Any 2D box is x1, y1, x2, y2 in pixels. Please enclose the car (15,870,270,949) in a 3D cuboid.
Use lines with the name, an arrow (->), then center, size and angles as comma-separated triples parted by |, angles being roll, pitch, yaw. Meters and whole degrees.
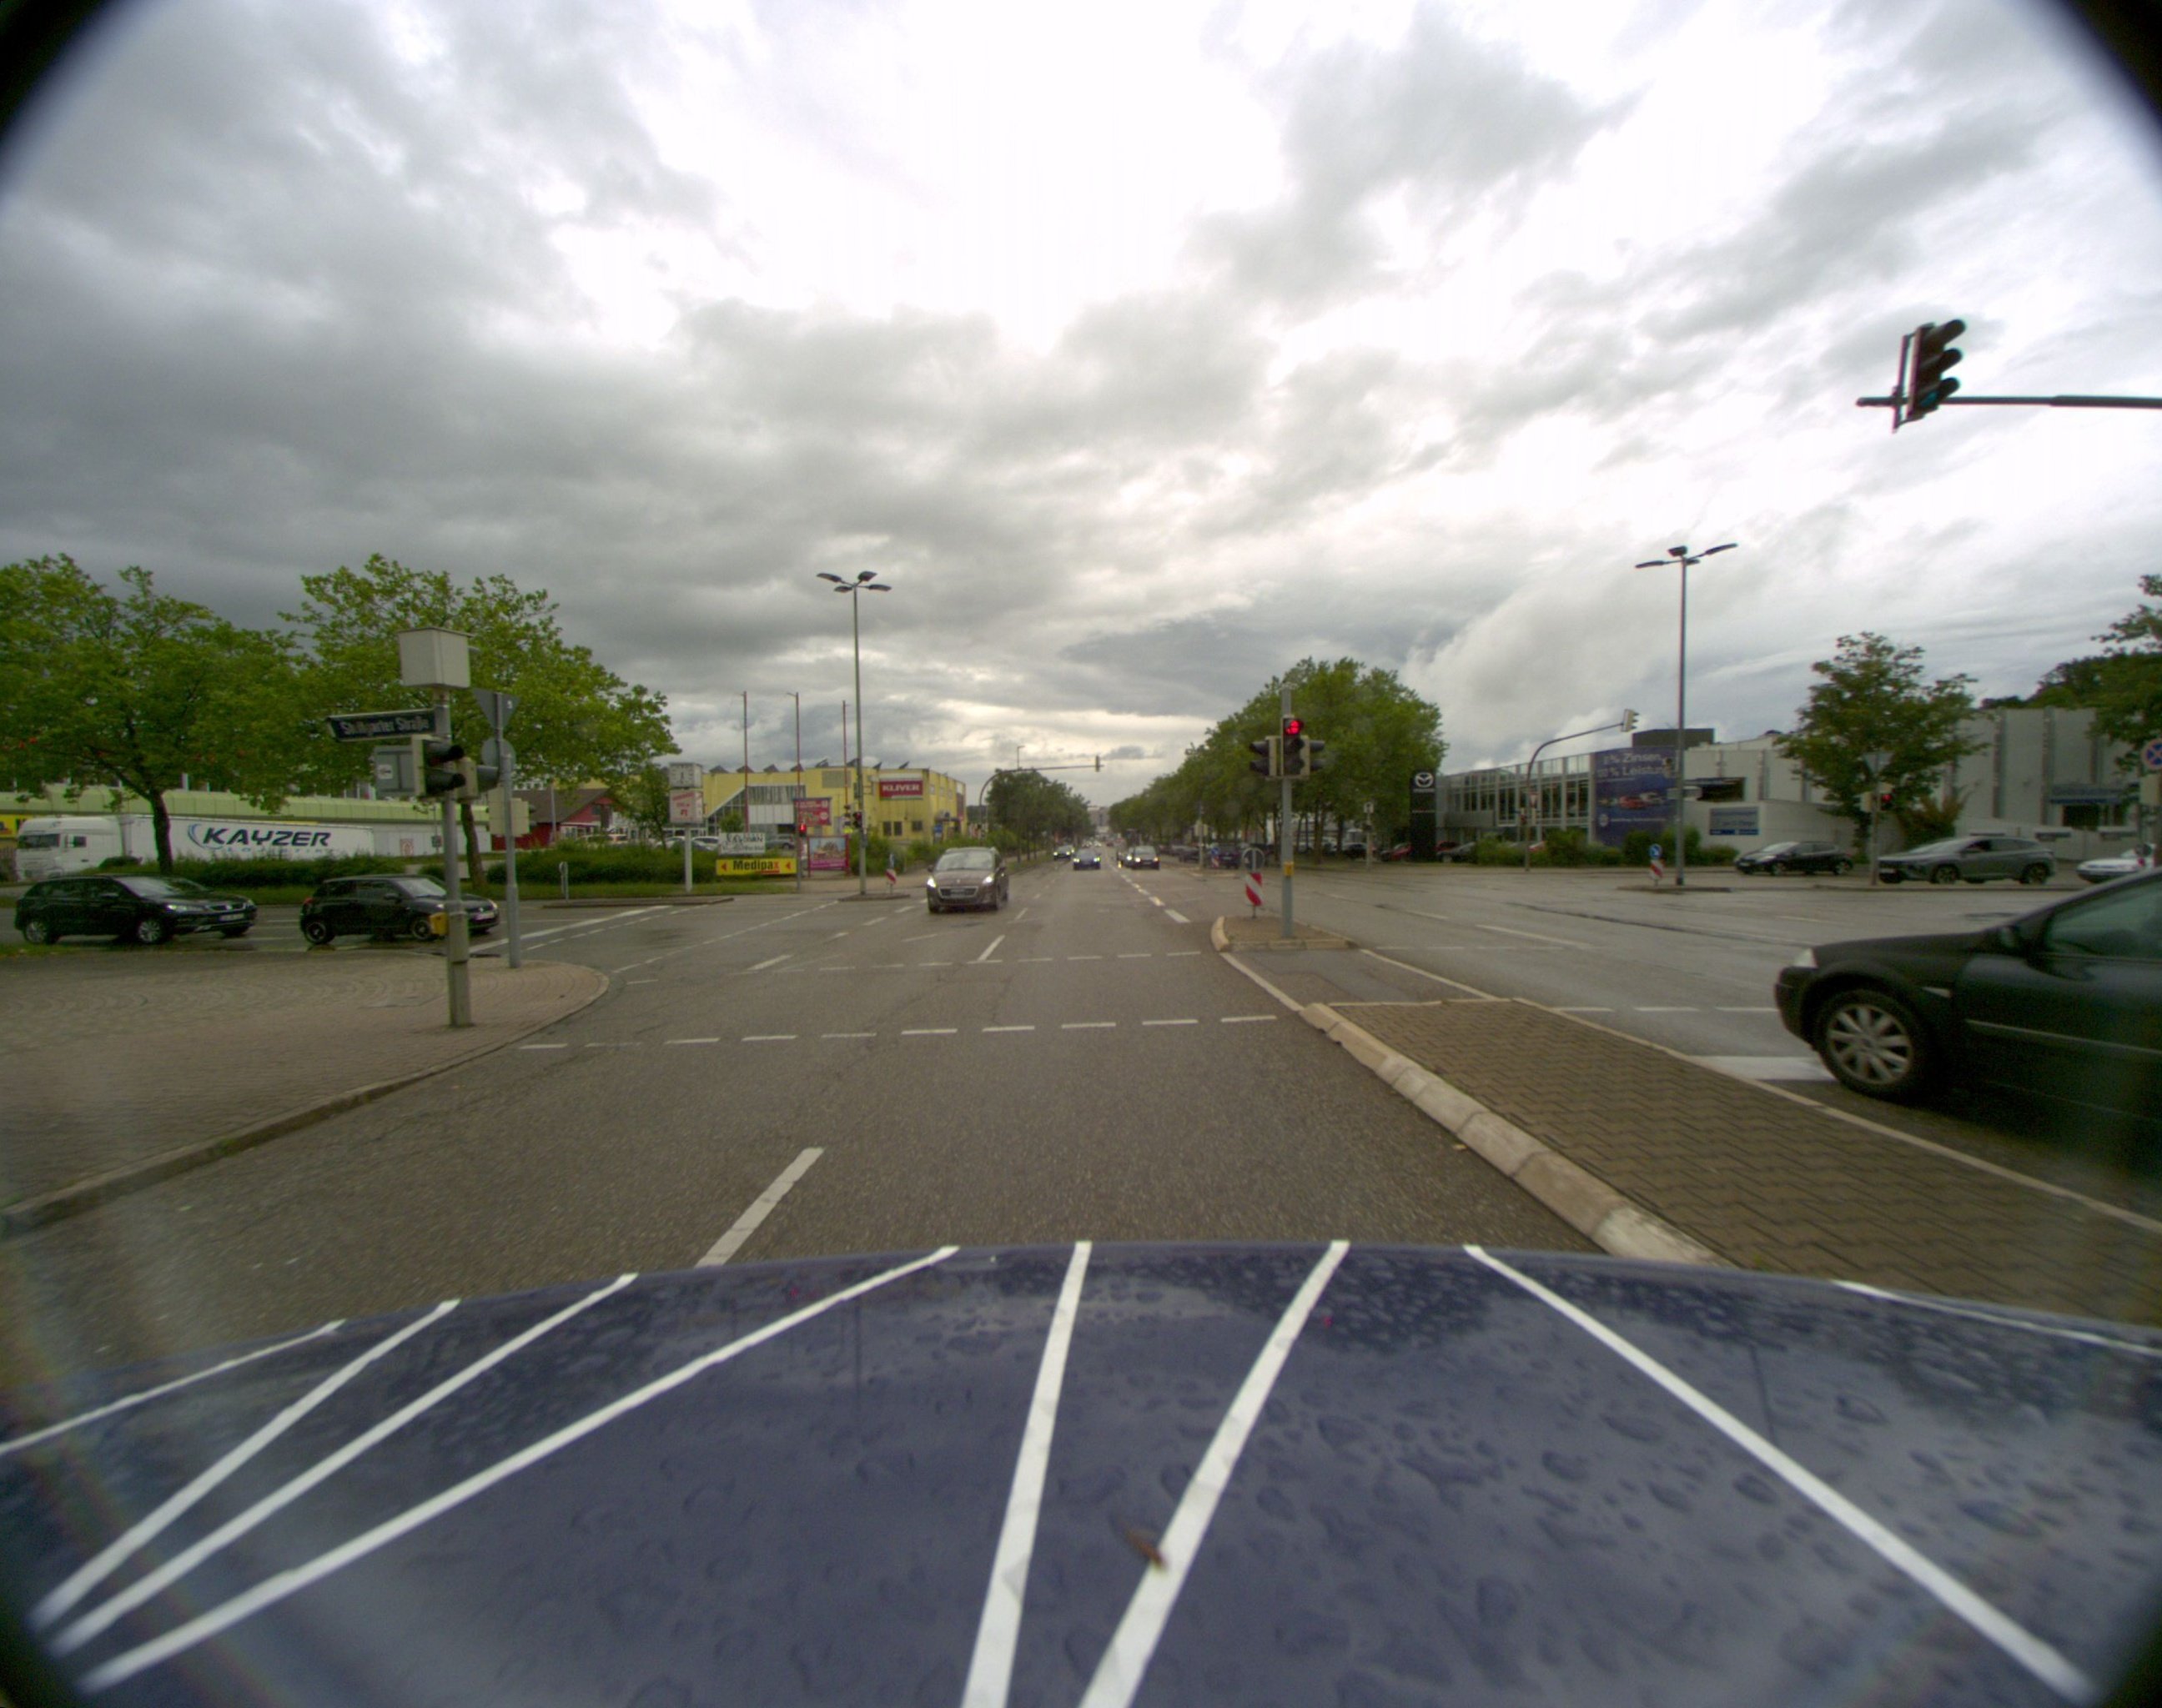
car -> -22.188, 1.288, 18.053 | 4.149, 1.539, 1.738 | -3, 2, 6

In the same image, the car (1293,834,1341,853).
car -> 24.146, -1.065, 77.814 | 4.472, 1.805, 1.996 | -2, 2, -21

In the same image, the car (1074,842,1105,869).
car -> 0.653, 0.042, 53.404 | 1.998, 1.633, 4.359 | -3, 2, 2

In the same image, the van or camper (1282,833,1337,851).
van or camper -> 24.404, -1.315, 81.175 | 5.380, 1.761, 2.100 | -2, 5, -21

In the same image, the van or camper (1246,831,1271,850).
van or camper -> 24.213, -1.920, 103.790 | 1.998, 2.456, 6.400 | -2, 1, 2

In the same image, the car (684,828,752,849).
car -> -32.842, -1.385, 68.931 | 4.981, 1.769, 2.380 | -1, 1, 0

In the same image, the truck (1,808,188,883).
truck -> -53.185, -0.433, 41.202 | 3.159, 3.694, 5.137 | -3, 0, 2

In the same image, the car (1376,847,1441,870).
car -> 25.719, 0.310, 59.662 | 4.573, 1.587, 1.996 | -3, 2, -21

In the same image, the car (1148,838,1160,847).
car -> 12.152, -1.964, 126.577 | 1.714, 1.456, 4.084 | 0, 1, 0

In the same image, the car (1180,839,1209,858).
car -> 9.717, -0.472, 65.141 | 1.715, 1.571, 3.998 | 0, 1, -2

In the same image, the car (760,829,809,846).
car -> -31.472, -1.767, 80.736 | 4.382, 1.729, 1.999 | -1, 1, 0

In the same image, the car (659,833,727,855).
car -> -32.488, -0.841, 63.743 | 4.578, 1.769, 1.999 | -1, 1, 0

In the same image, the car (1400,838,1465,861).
car -> 26.068, -0.347, 56.339 | 4.237, 1.644, 2.008 | 0, 2, -22

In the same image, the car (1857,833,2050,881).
car -> 29.255, 0.090, 25.590 | 4.157, 1.480, 1.879 | -1, 1, 4

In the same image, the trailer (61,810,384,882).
trailer -> -52.950, -0.460, 48.251 | 3.159, 3.694, 14.813 | -3, 0, 2

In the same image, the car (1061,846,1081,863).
car -> -1.097, 0.065, 85.097 | 1.998, 1.633, 4.359 | -3, 2, 2

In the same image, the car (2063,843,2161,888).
car -> 35.352, 0.346, 24.964 | 3.696, 1.391, 1.879 | -1, 1, 1

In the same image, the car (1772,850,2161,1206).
car -> 5.145, 0.710, 2.680 | 1.687, 1.369, 3.998 | -1, 1, -2

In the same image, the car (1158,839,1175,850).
car -> 11.670, -1.324, 104.098 | 1.715, 1.375, 4.173 | 1, 1, -1

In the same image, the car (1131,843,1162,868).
car -> 4.208, 0.050, 49.171 | 1.717, 1.481, 4.077 | -1, 1, 1

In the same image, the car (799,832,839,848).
car -> -30.758, -1.682, 89.248 | 3.997, 1.769, 1.999 | -1, 1, 0

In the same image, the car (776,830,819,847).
car -> -31.302, -1.706, 83.893 | 3.997, 1.769, 1.999 | -1, 1, 0

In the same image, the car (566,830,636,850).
car -> -45.046, -1.353, 71.388 | 4.981, 1.769, 2.380 | -1, 1, 0

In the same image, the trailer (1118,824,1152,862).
trailer -> 4.306, -0.899, 61.427 | 2.378, 2.881, 5.544 | -1, 2, 0

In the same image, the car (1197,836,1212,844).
car -> 24.181, -2.697, 148.872 | 2.123, 1.488, 5.245 | -1, 1, 1

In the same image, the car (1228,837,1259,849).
car -> 28.405, -1.995, 132.842 | 5.058, 2.002, 2.129 | -1, 2, 0

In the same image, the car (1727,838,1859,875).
car -> 30.910, 0.084, 33.073 | 3.989, 1.480, 1.817 | -1, 1, 1

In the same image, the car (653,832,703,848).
car -> -43.908, -1.532, 82.886 | 4.381, 1.729, 1.999 | -1, 1, 0

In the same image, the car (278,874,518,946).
car -> -15.903, 1.272, 17.847 | 3.989, 1.481, 1.817 | 0, 2, 1

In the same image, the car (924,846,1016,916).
car -> -2.892, 0.643, 20.726 | 1.730, 1.615, 4.470 | -1, 1, 2

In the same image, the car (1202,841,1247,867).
car -> 9.117, -0.035, 48.655 | 1.916, 1.599, 4.361 | -1, 1, -2

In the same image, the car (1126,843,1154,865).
car -> 4.211, -0.030, 55.012 | 1.770, 1.450, 4.779 | -1, 1, 1
